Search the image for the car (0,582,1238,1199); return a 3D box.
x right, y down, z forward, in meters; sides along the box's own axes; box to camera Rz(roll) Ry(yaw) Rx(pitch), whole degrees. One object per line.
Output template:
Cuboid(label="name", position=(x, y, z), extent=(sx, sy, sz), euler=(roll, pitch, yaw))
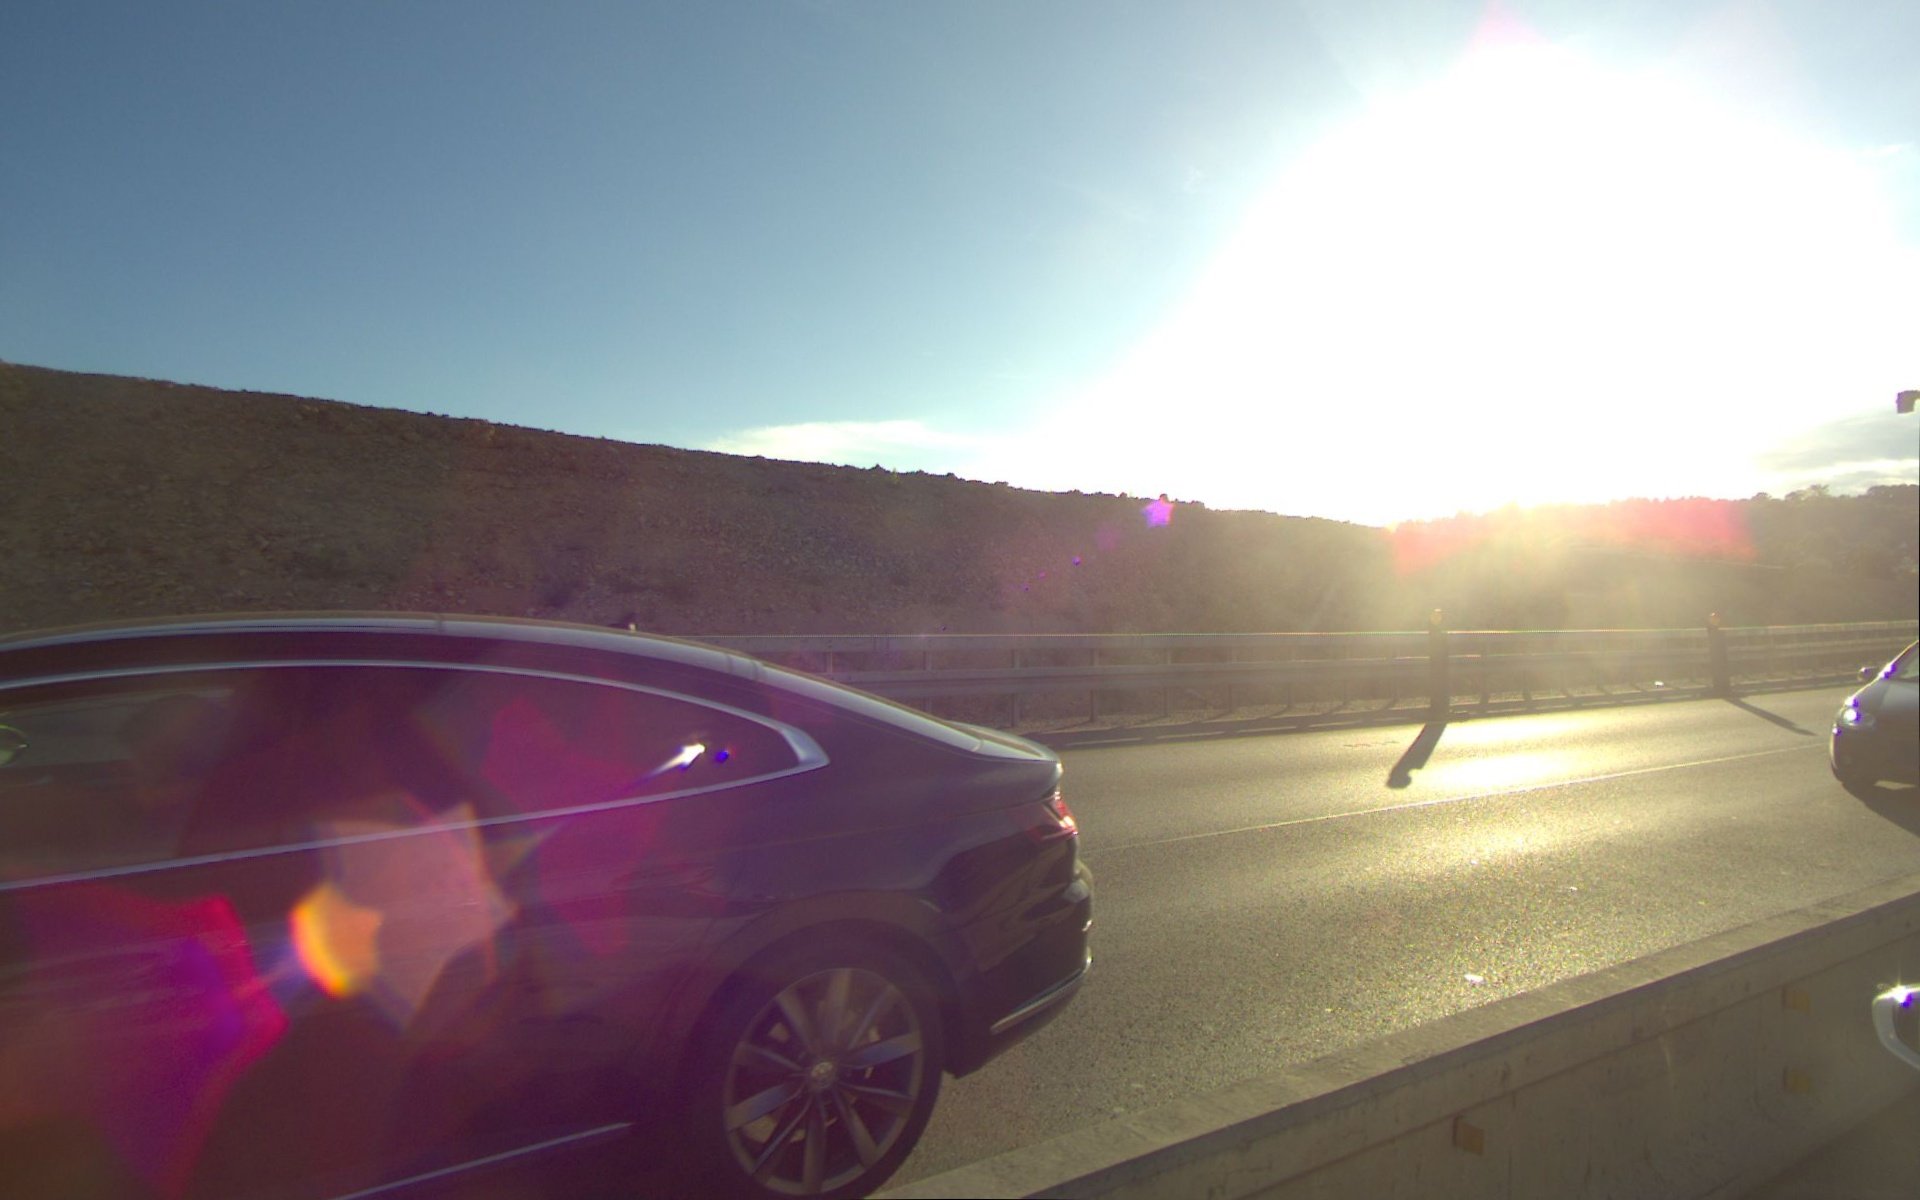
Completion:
Cuboid(label="car", position=(-1.562, 0.692, 2.602), extent=(4.442, 1.428, 1.827), euler=(1, 0, -30))

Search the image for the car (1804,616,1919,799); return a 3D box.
Cuboid(label="car", position=(9.452, 0.901, 8.888), extent=(4.277, 1.428, 1.707), euler=(1, 0, -30))
